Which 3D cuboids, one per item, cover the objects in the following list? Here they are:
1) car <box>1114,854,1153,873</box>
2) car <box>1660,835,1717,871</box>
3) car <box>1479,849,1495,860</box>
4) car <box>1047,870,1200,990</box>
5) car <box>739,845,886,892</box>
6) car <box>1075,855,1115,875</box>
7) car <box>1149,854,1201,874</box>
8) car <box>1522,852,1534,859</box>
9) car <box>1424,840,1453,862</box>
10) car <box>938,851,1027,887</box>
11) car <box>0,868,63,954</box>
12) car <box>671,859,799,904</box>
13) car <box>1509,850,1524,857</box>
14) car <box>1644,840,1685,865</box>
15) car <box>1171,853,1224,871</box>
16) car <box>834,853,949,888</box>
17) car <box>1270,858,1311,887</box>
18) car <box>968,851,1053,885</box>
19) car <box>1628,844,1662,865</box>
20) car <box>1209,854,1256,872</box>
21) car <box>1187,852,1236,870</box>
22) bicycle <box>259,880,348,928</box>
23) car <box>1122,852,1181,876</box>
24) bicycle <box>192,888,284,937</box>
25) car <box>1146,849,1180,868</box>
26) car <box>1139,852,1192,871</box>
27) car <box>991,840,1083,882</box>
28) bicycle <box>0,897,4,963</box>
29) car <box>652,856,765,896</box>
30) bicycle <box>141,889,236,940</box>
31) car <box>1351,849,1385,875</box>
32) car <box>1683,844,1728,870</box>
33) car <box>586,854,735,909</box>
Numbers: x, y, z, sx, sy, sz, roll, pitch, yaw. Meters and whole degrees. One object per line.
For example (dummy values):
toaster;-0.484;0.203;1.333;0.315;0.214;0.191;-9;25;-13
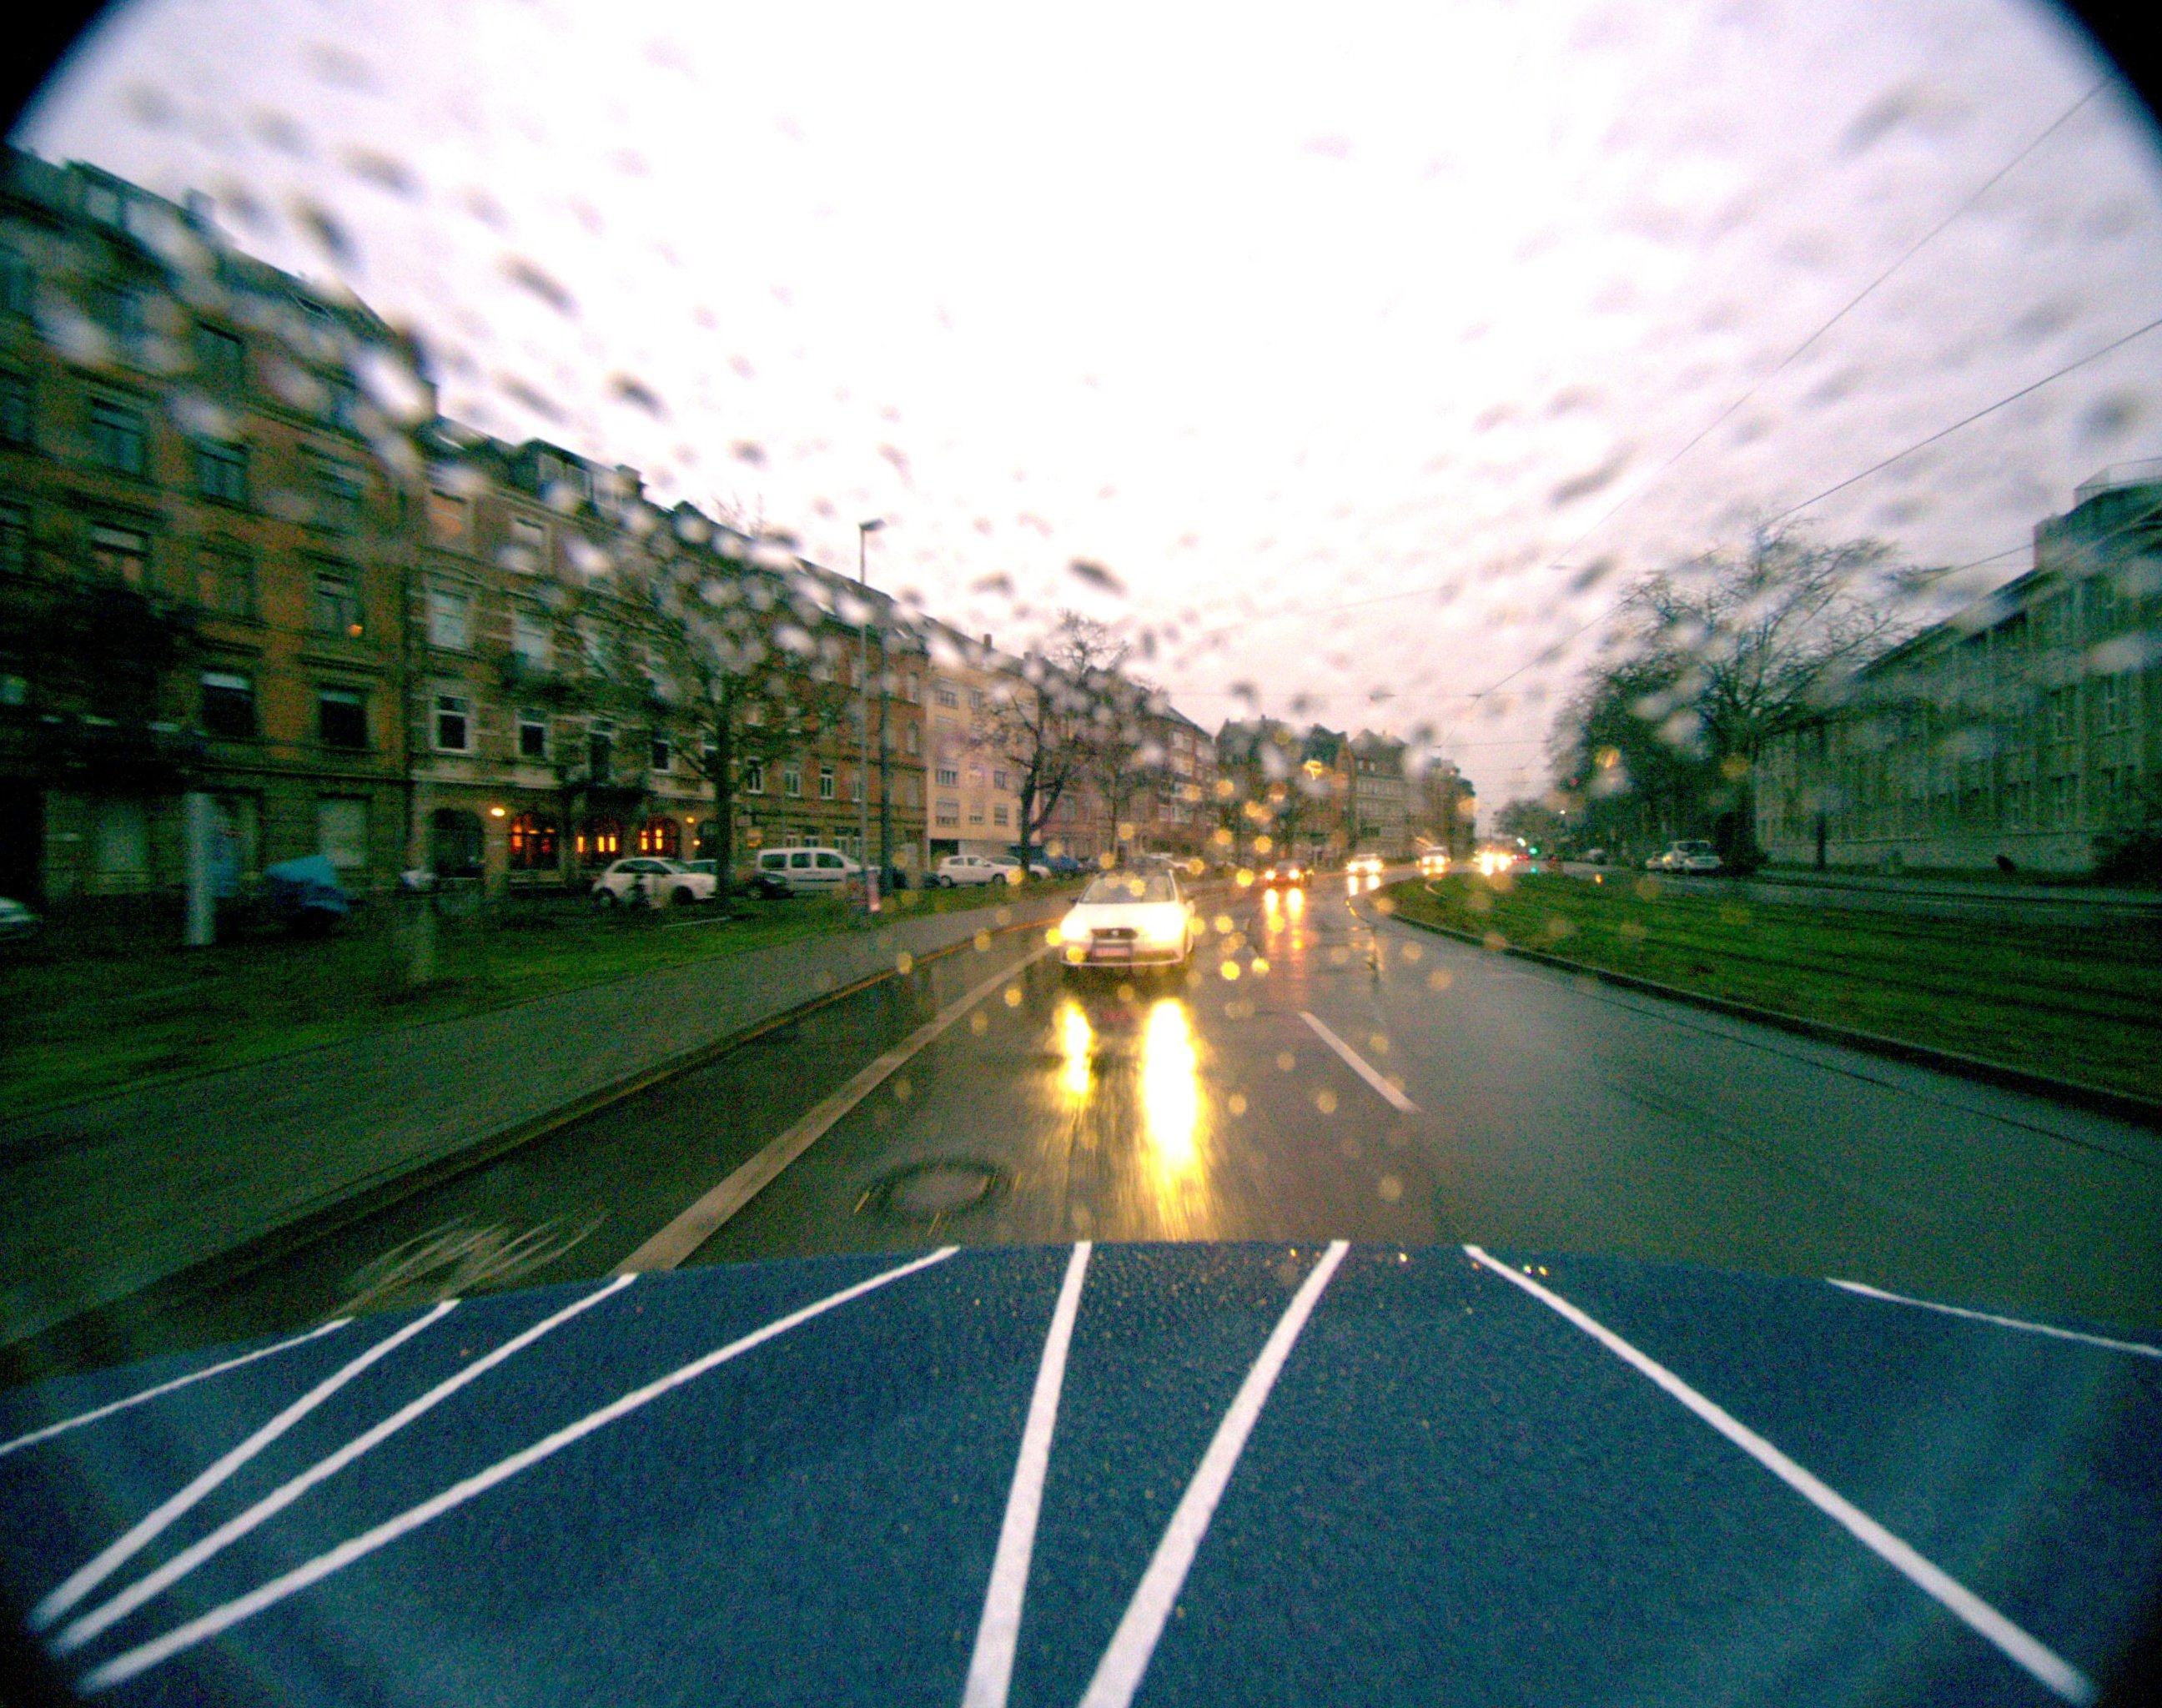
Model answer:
car;4.747;0.825;68.027;1.690;1.534;4.007;-3;0;33
car;37.626;-0.090;47.162;1.995;2.002;4.517;-3;0;30
car;63.684;0.096;119.224;1.646;1.739;3.562;0;0;38
car;0.821;1.038;11.676;1.713;1.404;3.682;-3;0;12
car;-9.646;0.517;27.554;4.661;1.583;1.777;1;0;-1
car;1.168;0.882;62.257;1.470;1.534;3.880;0;0;33
car;7.036;0.746;56.856;3.762;1.324;1.602;-3;0;7
car;107.719;0.354;182.951;1.948;1.804;4.008;-1;0;38
car;41.989;-0.401;89.216;2.125;2.366;5.649;-3;0;34
car;-4.526;0.677;35.233;3.771;1.424;1.762;-3;0;4
car;-18.623;0.910;11.488;3.857;1.329;1.697;-1;0;-5
car;-11.363;0.873;25.114;3.431;1.343;1.664;-2;0;-3
car;84.027;-0.076;146.624;1.892;1.404;3.955;-1;0;40
car;42.800;-0.130;55.789;1.823;1.645;3.866;-3;0;30
car;8.934;0.609;58.462;3.763;1.270;1.602;-1;0;0
car;-7.405;0.654;29.965;4.060;1.227;1.771;1;-1;1
car;10.890;0.942;39.406;1.587;1.418;3.139;-1;0;24
car;-3.491;0.680;37.447;3.999;1.406;1.641;-3;0;-7
car;45.843;0.033;61.798;1.612;1.650;3.617;-1;0;26
car;12.803;0.764;64.477;3.762;1.346;1.602;-3;0;7
car;10.624;0.571;62.073;3.762;1.346;1.602;-3;0;7
bicycle;-17.142;1.081;16.744;2.165;0.960;0.627;0;1;24
car;4.770;0.672;52.080;3.871;1.397;1.695;-3;0;2
bicycle;-17.615;1.223;15.867;2.166;0.960;0.627;-2;-2;24
car;7.896;0.427;72.865;1.671;1.693;3.472;-3;0;35
car;6.092;0.557;54.734;3.762;1.325;1.602;-1;1;7
car;-2.356;0.359;40.247;4.722;1.971;1.798;-2;-1;-7
bicycle;-15.781;1.072;10.067;1.655;0.931;0.513;0;0;-39
car;-15.870;0.912;32.606;1.733;1.492;4.058;-3;-1;28
bicycle;-17.891;1.207;15.223;2.166;0.960;0.627;-2;-2;24
car;21.001;0.555;55.511;1.671;1.650;4.155;-3;0;28
car;35.473;0.152;43.208;1.557;1.420;2.960;-1;1;31
car;-12.399;0.803;22.519;3.464;1.434;1.614;-2;0;2
